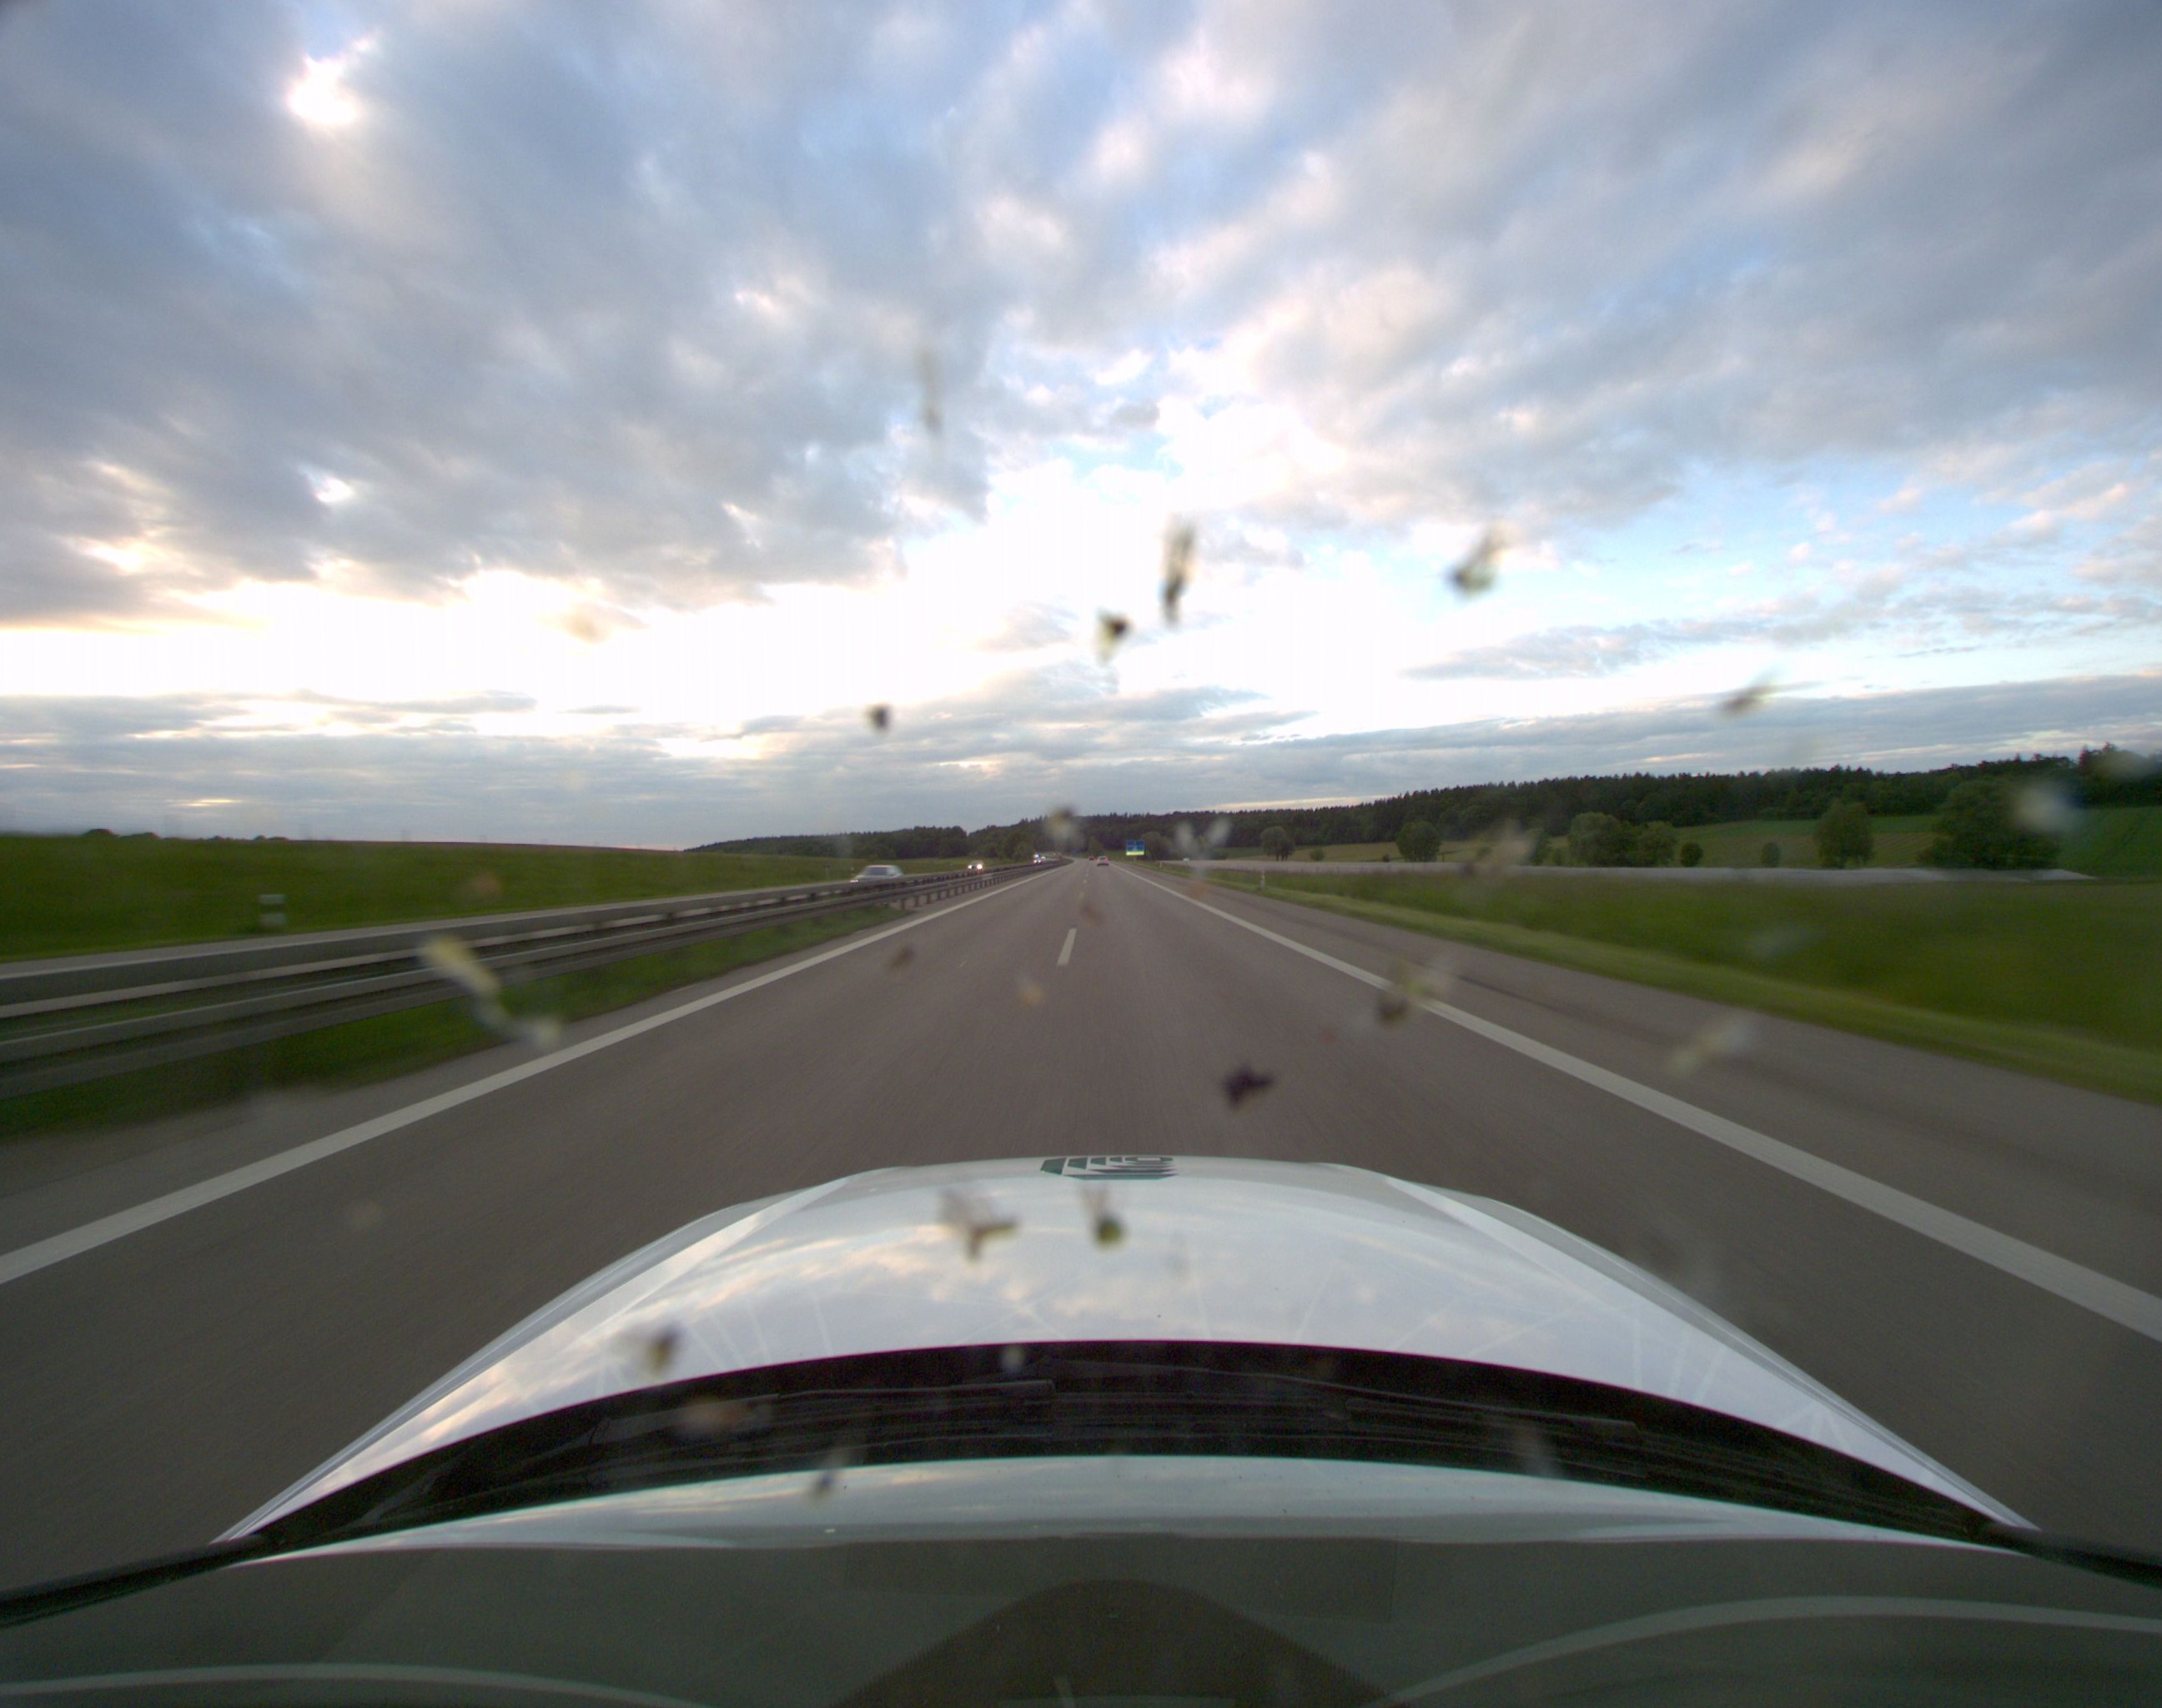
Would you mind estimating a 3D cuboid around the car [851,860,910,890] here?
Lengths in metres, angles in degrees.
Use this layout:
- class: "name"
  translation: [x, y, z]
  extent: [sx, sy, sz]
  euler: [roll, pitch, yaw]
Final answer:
- class: "car"
  translation: [-10.635, 1.093, 43.486]
  extent: [1.732, 1.456, 5.123]
  euler: [0, 0, 2]

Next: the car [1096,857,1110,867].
- class: "car"
  translation: [3.434, 1.207, 128.592]
  extent: [1.946, 1.531, 4.078]
  euler: [0, 0, -1]

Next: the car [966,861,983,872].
- class: "car"
  translation: [-14.315, 1.605, 109.310]
  extent: [1.668, 1.360, 4.010]
  euler: [2, 0, 0]

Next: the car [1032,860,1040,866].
- class: "car"
  translation: [-13.536, 2.790, 245.103]
  extent: [1.784, 1.699, 4.590]
  euler: [0, 0, 1]
